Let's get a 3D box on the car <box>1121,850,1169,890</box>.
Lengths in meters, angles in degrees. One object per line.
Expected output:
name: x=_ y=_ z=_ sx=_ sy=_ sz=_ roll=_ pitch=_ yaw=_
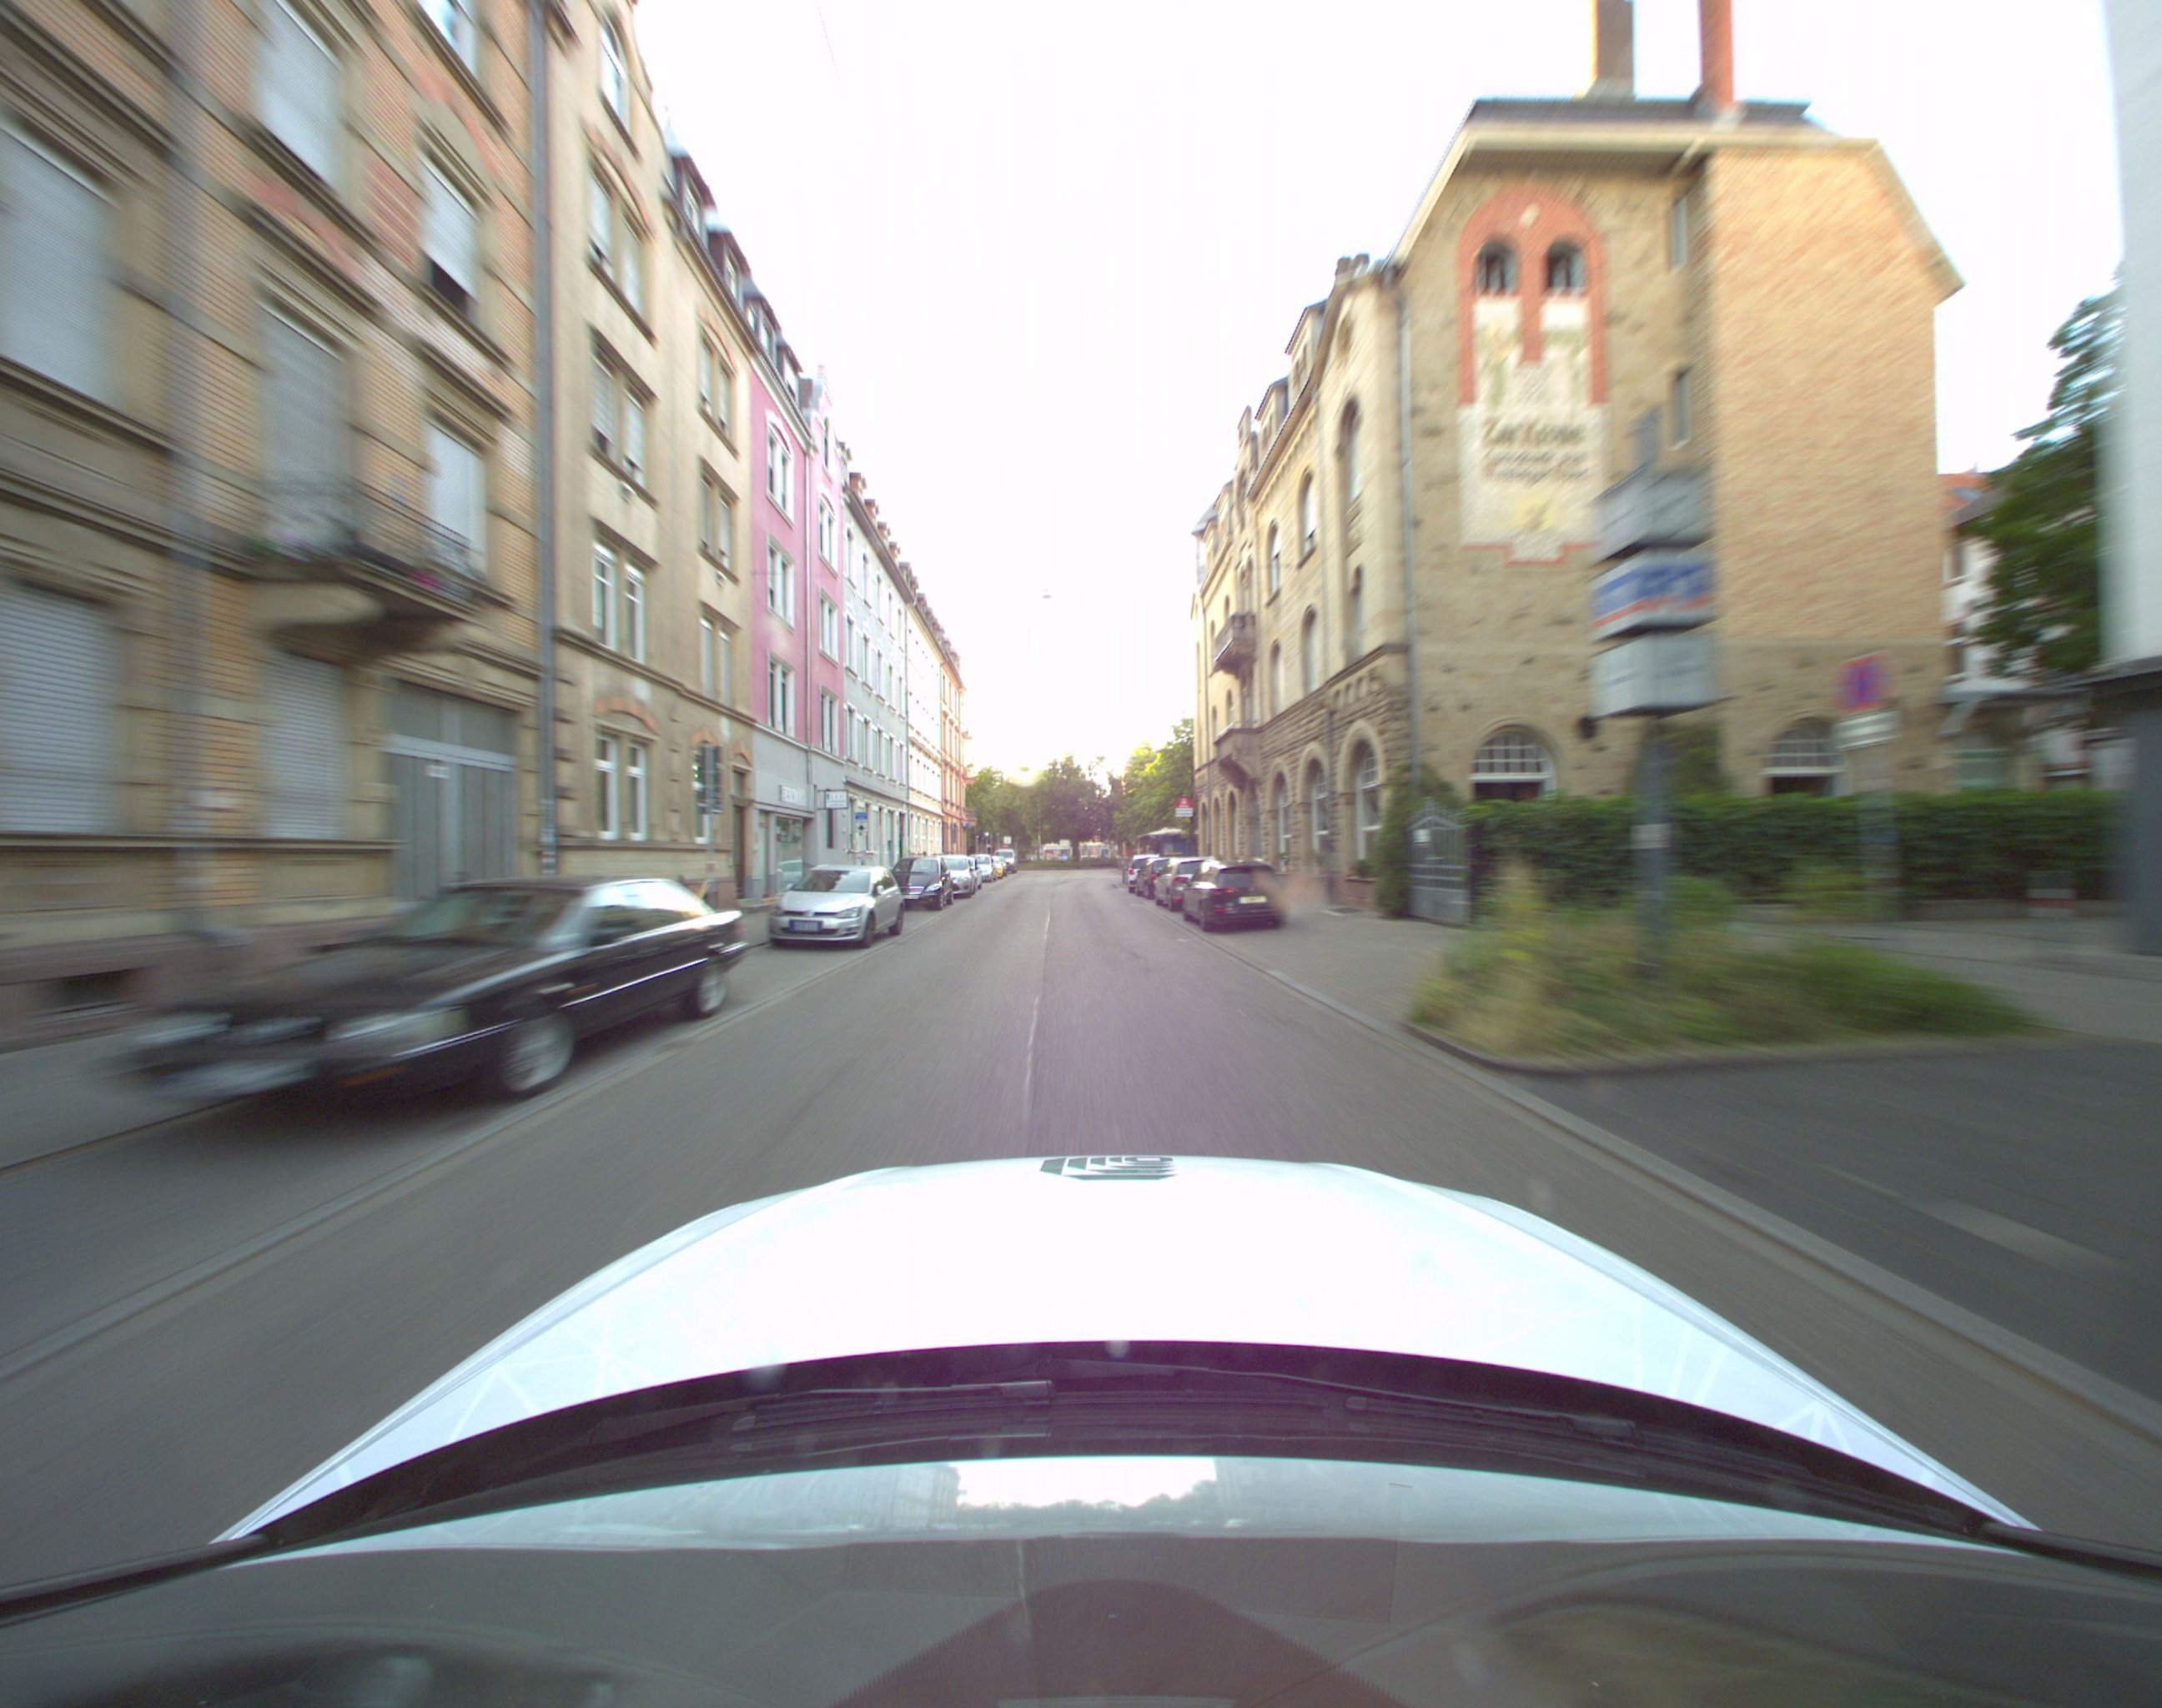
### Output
car: x=2.680 y=0.629 z=34.722 sx=1.671 sy=1.501 sz=3.900 roll=-4 pitch=0 yaw=0

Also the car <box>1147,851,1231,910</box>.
car: x=3.099 y=0.713 z=24.075 sx=1.672 sy=1.456 sz=4.226 roll=-4 pitch=0 yaw=-2

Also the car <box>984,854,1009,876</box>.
car: x=-6.180 y=0.759 z=59.862 sx=1.695 sy=1.552 sz=4.016 roll=1 pitch=0 yaw=-4

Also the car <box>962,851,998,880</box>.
car: x=-5.851 y=0.648 z=47.688 sx=1.694 sy=1.621 sz=4.019 roll=1 pitch=0 yaw=-2

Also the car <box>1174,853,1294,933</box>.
car: x=3.238 y=0.749 z=18.105 sx=1.671 sy=1.429 sz=4.476 roll=-5 pitch=0 yaw=-1

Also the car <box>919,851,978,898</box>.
car: x=-5.061 y=0.732 z=31.598 sx=1.841 sy=1.659 sz=4.246 roll=-1 pitch=0 yaw=-4

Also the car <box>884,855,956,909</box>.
car: x=-4.928 y=0.814 z=25.421 sx=1.632 sy=1.565 sz=3.778 roll=0 pitch=0 yaw=-3

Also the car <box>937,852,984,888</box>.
car: x=-5.417 y=0.702 z=37.110 sx=1.694 sy=1.552 sz=3.566 roll=1 pitch=0 yaw=-2

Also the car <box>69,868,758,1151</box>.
car: x=-4.392 y=0.852 z=6.616 sx=1.732 sy=1.418 sz=4.774 roll=1 pitch=-1 yaw=-2

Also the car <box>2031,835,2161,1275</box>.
car: x=5.606 y=0.570 z=2.104 sx=4.073 sy=1.452 sz=1.882 roll=-3 pitch=0 yaw=0

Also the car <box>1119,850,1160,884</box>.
car: x=2.863 y=0.623 z=40.596 sx=1.671 sy=1.501 sz=4.017 roll=-4 pitch=0 yaw=0

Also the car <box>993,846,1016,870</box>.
car: x=-6.391 y=0.330 z=68.005 sx=1.808 sy=1.977 sz=4.178 roll=1 pitch=0 yaw=-6

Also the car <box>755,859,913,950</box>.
car: x=-4.623 y=0.872 z=15.911 sx=1.829 sy=1.458 sz=4.204 roll=2 pitch=0 yaw=-1

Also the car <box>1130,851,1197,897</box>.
car: x=2.928 y=0.696 z=29.703 sx=1.674 sy=1.456 sz=3.793 roll=-4 pitch=0 yaw=-5

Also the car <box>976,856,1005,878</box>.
car: x=-5.969 y=0.840 z=53.938 sx=1.695 sy=1.426 sz=4.016 roll=1 pitch=0 yaw=-4
